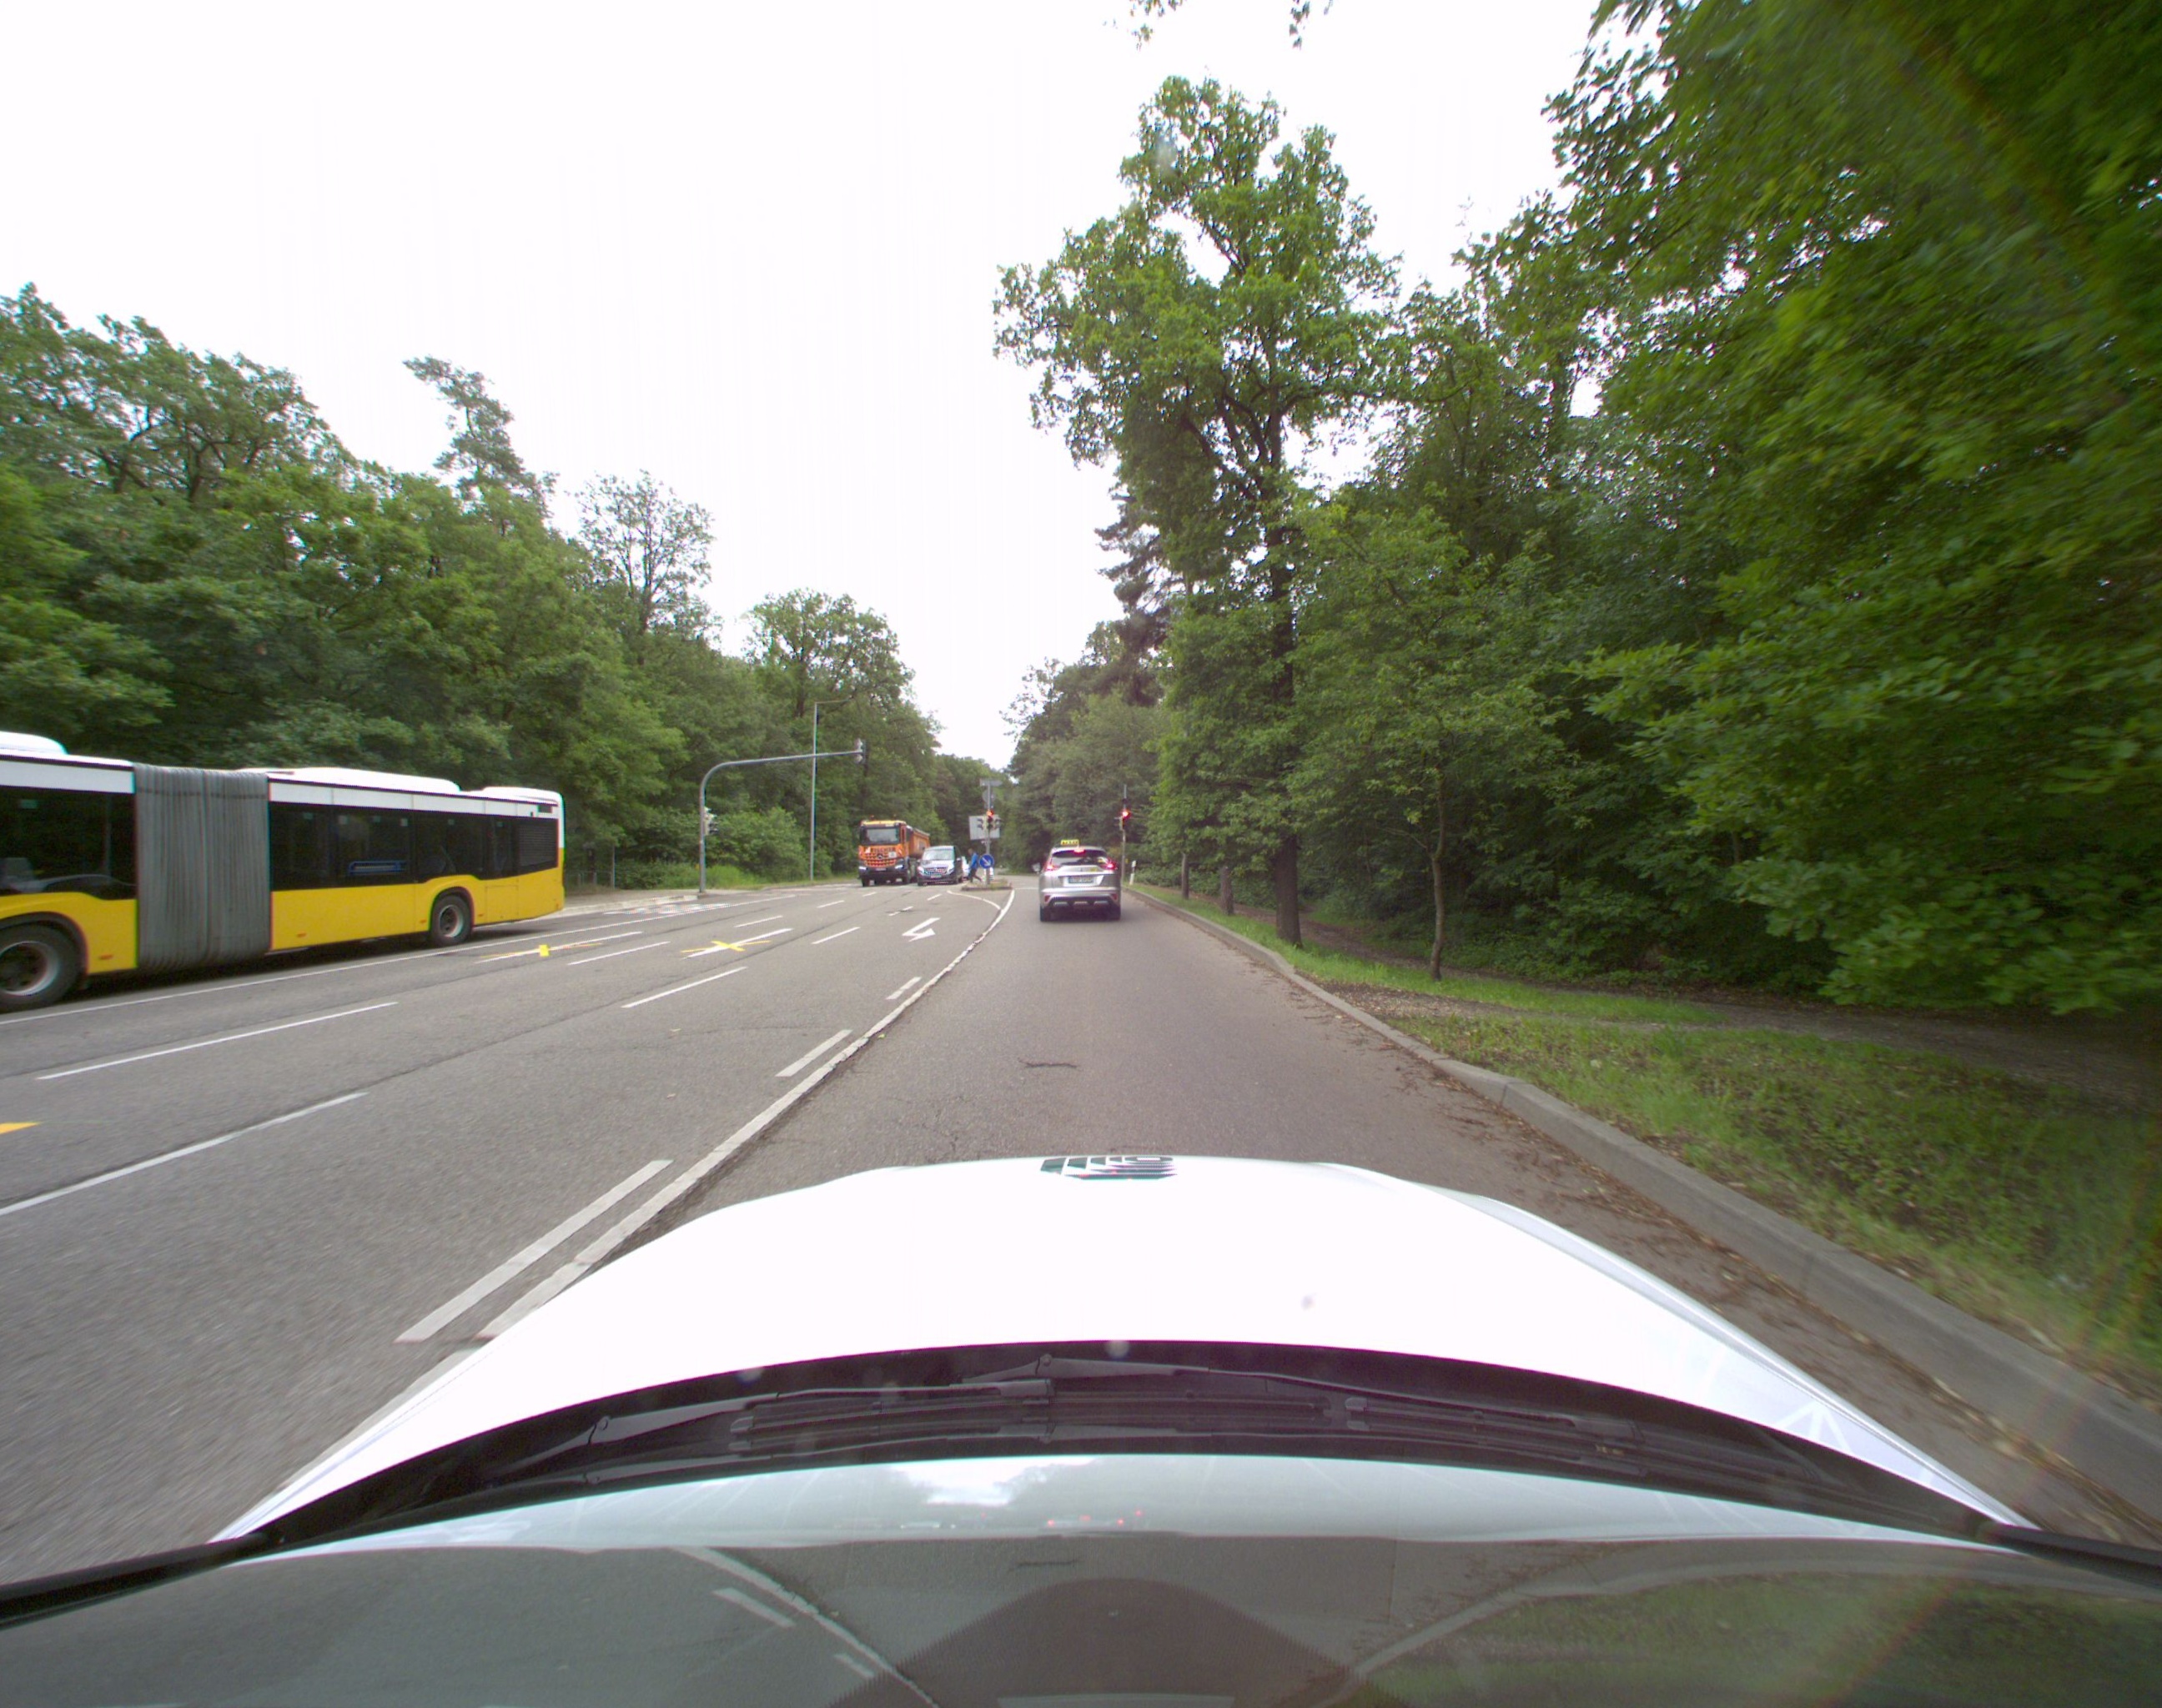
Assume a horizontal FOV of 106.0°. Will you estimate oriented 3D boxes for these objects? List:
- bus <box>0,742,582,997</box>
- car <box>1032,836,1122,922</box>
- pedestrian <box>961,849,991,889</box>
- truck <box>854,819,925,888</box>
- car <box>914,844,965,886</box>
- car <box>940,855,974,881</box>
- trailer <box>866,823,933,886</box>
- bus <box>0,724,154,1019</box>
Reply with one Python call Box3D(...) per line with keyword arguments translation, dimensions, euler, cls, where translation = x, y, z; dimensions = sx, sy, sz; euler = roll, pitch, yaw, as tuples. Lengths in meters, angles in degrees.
Box3D(translation=(-12.920, 0.179, 14.376), dimensions=(2.890, 3.127, 8.692), euler=(0, 0, 0), cls="bus")
Box3D(translation=(0.016, 0.507, 19.110), dimensions=(1.839, 1.780, 4.003), euler=(-1, 1, 3), cls="car")
Box3D(translation=(-4.454, 0.638, 34.710), dimensions=(1.043, 1.649, 1.070), euler=(-1, 1, 3), cls="pedestrian")
Box3D(translation=(-10.241, 0.026, 44.243), dimensions=(2.735, 3.318, 7.145), euler=(-2, -1, -6), cls="truck")
Box3D(translation=(-7.021, 0.545, 40.910), dimensions=(1.990, 1.893, 4.831), euler=(-2, 0, -4), cls="car")
Box3D(translation=(-7.405, 0.810, 48.867), dimensions=(1.608, 1.321, 3.717), euler=(-3, 1, -3), cls="car")
Box3D(translation=(-10.657, 0.098, 48.575), dimensions=(2.735, 3.318, 8.551), euler=(-2, -1, -6), cls="trailer")
Box3D(translation=(-12.867, 0.203, 5.143), dimensions=(2.890, 3.127, 9.757), euler=(0, 0, 0), cls="bus")
